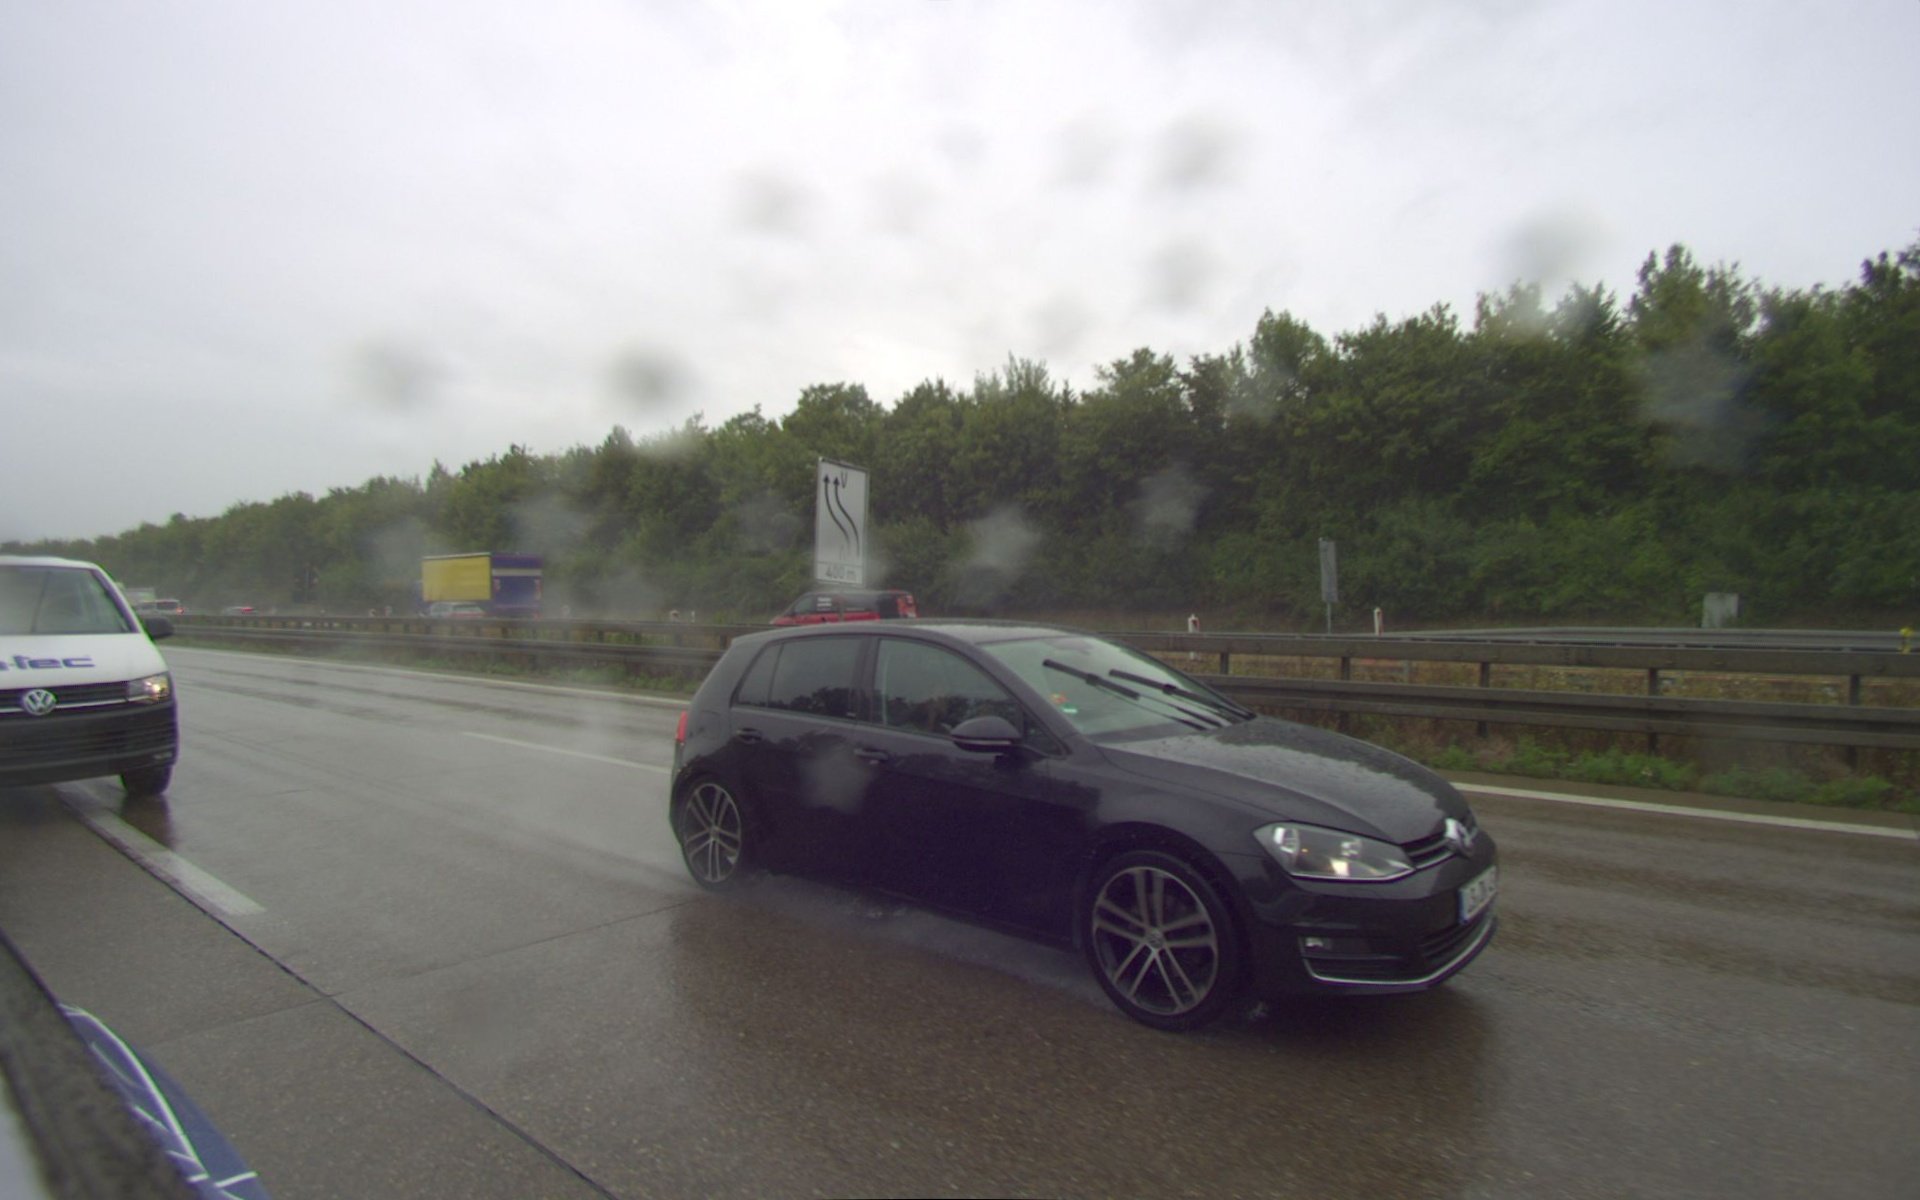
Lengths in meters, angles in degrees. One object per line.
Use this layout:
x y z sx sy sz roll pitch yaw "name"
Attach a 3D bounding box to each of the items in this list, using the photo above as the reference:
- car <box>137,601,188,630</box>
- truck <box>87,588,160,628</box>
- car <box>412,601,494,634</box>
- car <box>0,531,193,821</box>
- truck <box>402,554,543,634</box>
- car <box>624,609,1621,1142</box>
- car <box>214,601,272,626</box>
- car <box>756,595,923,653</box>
-59.836 1.125 75.906 5.193 2.029 1.958 -1 1 39 "car"
-75.341 0.748 90.999 11.501 3.340 2.747 -1 0 39 "truck"
-22.880 0.785 45.628 4.422 1.349 1.734 -1 0 41 "car"
-8.296 0.535 8.255 5.033 1.908 1.882 -1 0 36 "car"
-24.949 -0.233 51.507 9.791 3.728 2.559 -1 0 40 "truck"
0.421 0.756 4.716 4.317 1.398 1.723 0 -2 39 "car"
-45.765 0.878 64.541 4.469 1.495 1.897 -1 1 39 "car"
-3.610 0.685 29.669 5.267 1.543 1.734 -1 0 41 "car"
